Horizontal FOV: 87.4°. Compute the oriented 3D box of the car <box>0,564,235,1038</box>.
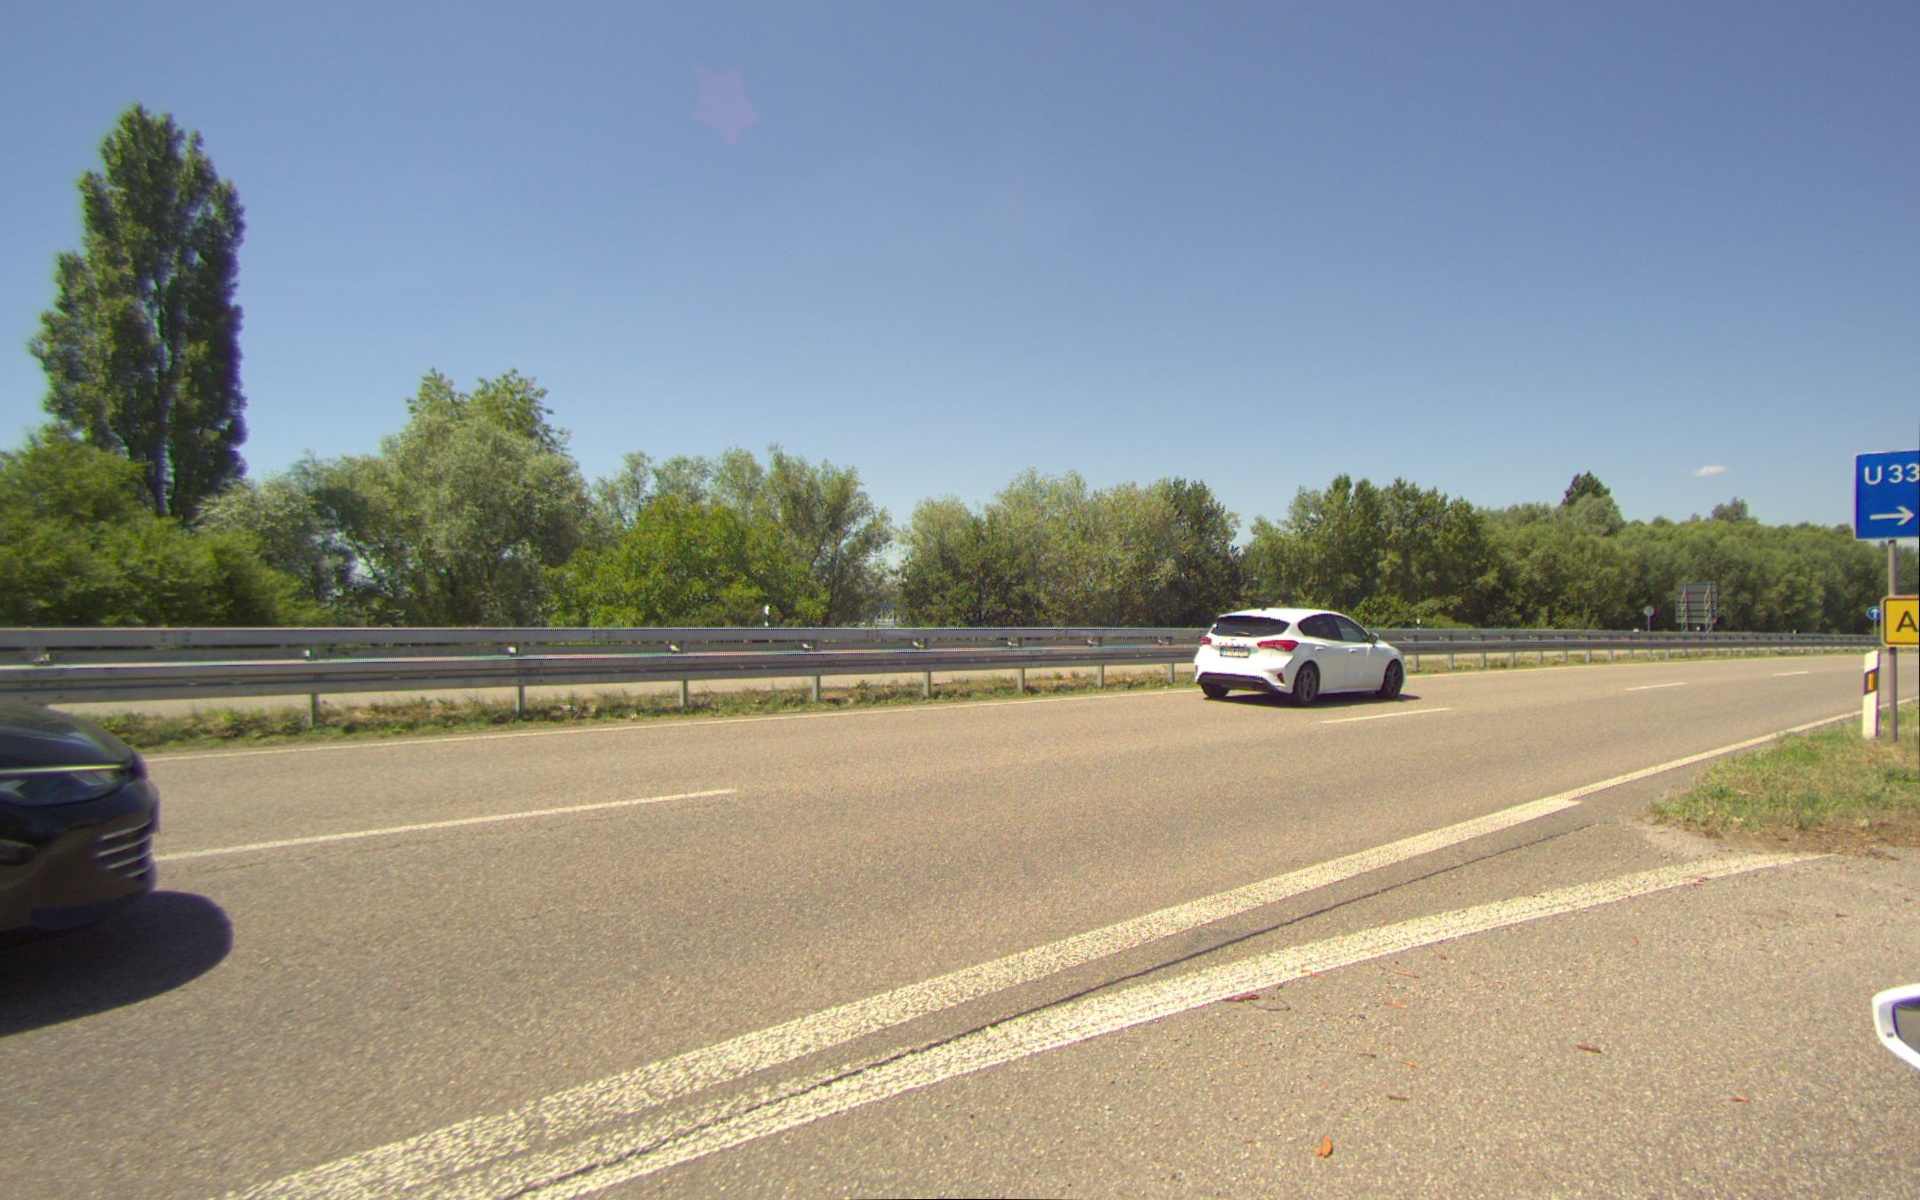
[{"bbox_3d":[-5.042,0.601,2.618,4.966,1.500,1.868,1,0,-42],"label":"car"}]
